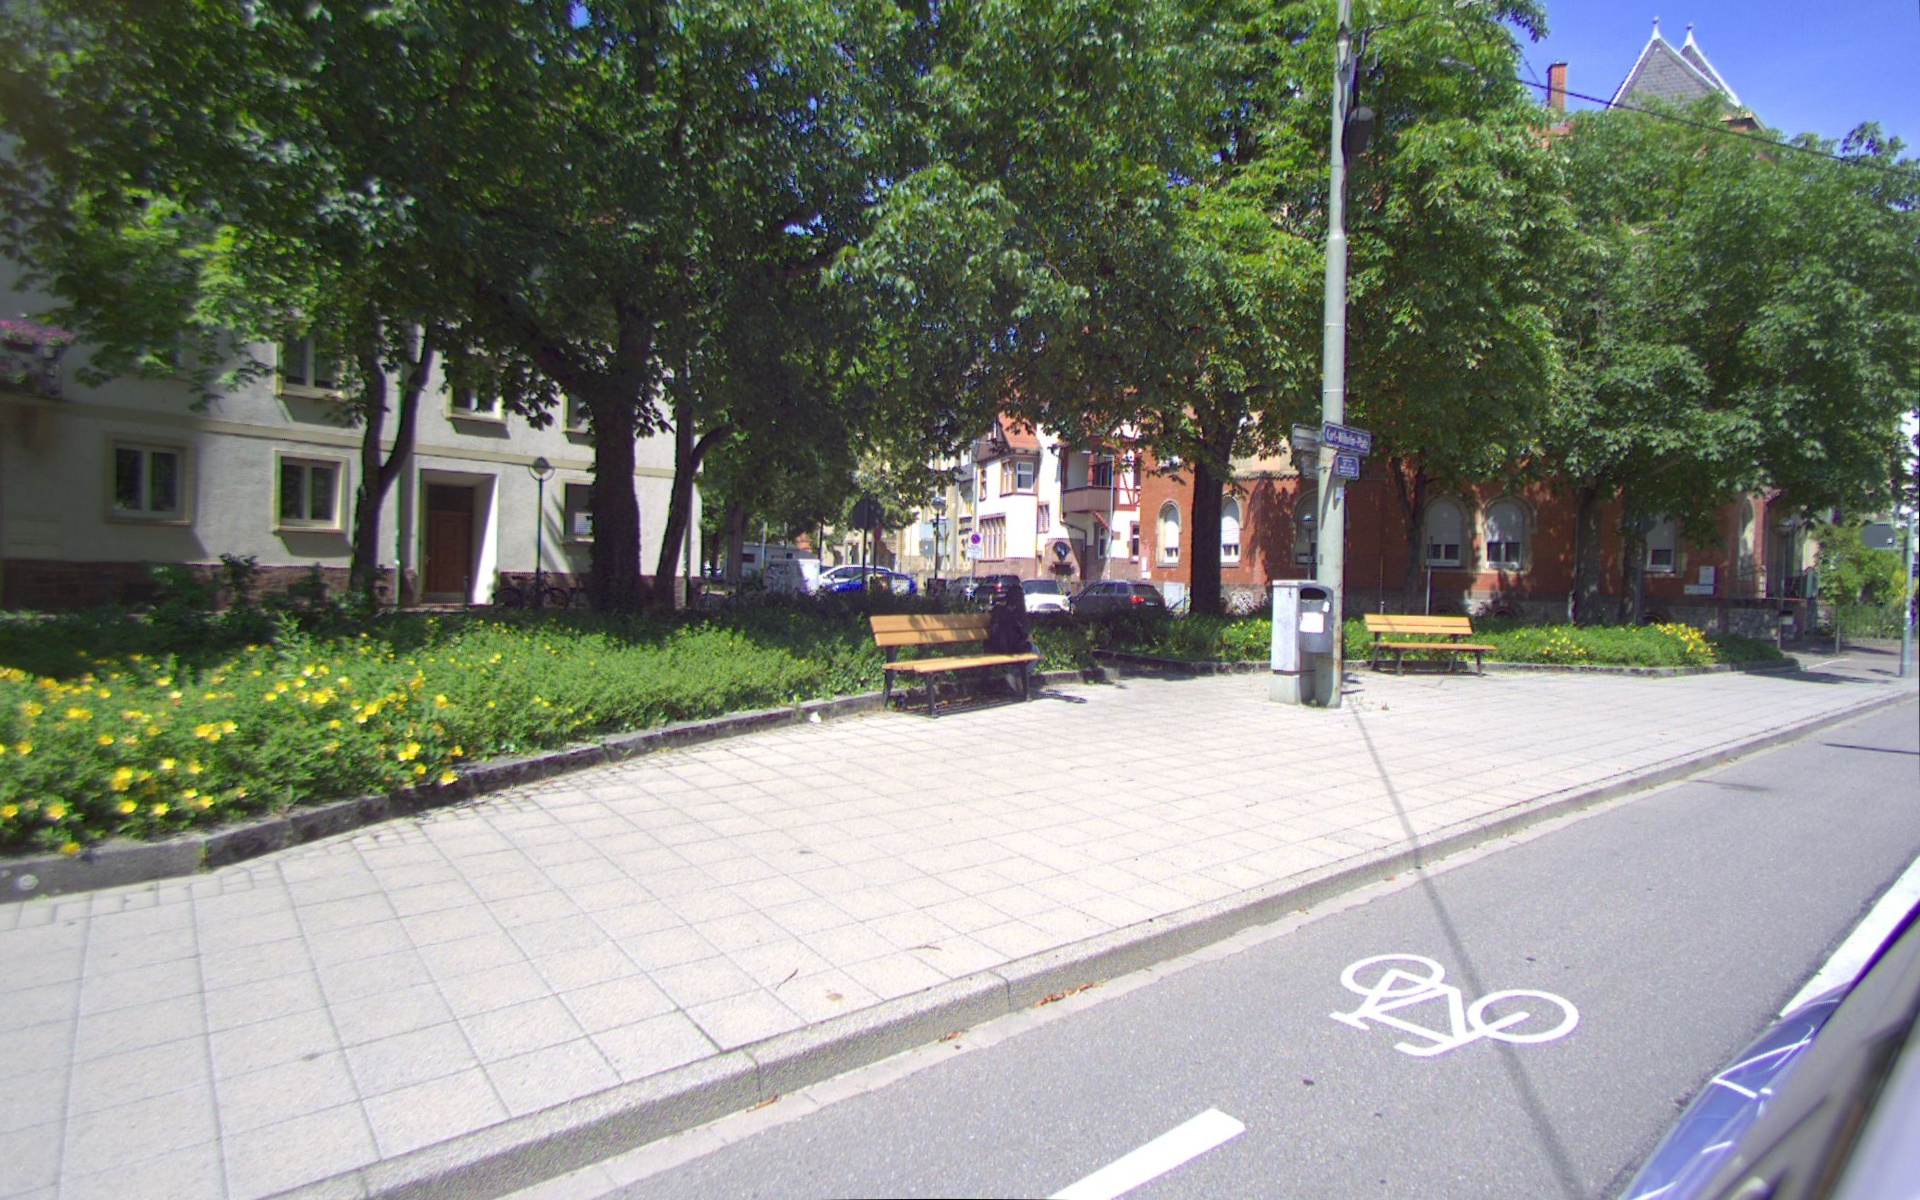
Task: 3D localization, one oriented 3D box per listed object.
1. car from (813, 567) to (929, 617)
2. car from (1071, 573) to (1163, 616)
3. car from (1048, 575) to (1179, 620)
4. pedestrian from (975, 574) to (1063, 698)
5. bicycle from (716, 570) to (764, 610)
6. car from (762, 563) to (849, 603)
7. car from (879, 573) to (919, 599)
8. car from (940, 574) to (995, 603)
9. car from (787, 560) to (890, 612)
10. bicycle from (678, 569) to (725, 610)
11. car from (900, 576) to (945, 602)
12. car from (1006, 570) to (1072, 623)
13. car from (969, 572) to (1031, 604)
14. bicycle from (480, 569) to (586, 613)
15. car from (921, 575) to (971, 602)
[{"bbox_3d":[-3.547,-0.324,40.012,4.219,1.903,1.942,0,0,-18],"label":"car"},{"bbox_3d":[6.273,-0.234,41.021,1.897,1.638,4.318,0,0,-19],"label":"car"},{"bbox_3d":[5.355,-0.109,36.056,1.899,1.501,5.040,0,1,-30],"label":"car"},{"bbox_3d":[0.595,0.336,10.070,0.562,1.156,0.718,3,2,33],"label":"pedestrian"},{"bbox_3d":[-5.871,-0.269,26.900,0.736,1.024,2.273,0,0,-26],"label":"bicycle"},{"bbox_3d":[-8.086,-0.885,52.934,4.219,2.029,1.942,0,0,-18],"label":"car"},{"bbox_3d":[-4.504,-1.009,74.458,1.897,1.897,4.318,0,0,-19],"label":"car"},{"bbox_3d":[0.378,-0.656,58.678,1.897,1.638,4.318,0,0,-19],"label":"car"},{"bbox_3d":[-5.374,-0.630,44.825,4.219,2.219,1.942,0,0,-18],"label":"car"},{"bbox_3d":[-6.778,-0.261,26.471,0.736,1.024,2.273,0,0,-26],"label":"bicycle"},{"bbox_3d":[-2.568,-0.730,67.945,1.897,1.638,4.318,0,0,-19],"label":"car"},{"bbox_3d":[2.411,-0.126,31.702,1.673,1.525,3.653,2,1,-1],"label":"car"},{"bbox_3d":[2.064,-0.621,54.071,1.897,1.638,4.318,0,0,-19],"label":"car"},{"bbox_3d":[-10.255,-0.223,24.371,2.230,1.024,0.751,-1,0,-41],"label":"bicycle"},{"bbox_3d":[-0.920,-0.693,63.249,1.897,1.638,4.318,0,0,-19],"label":"car"}]
